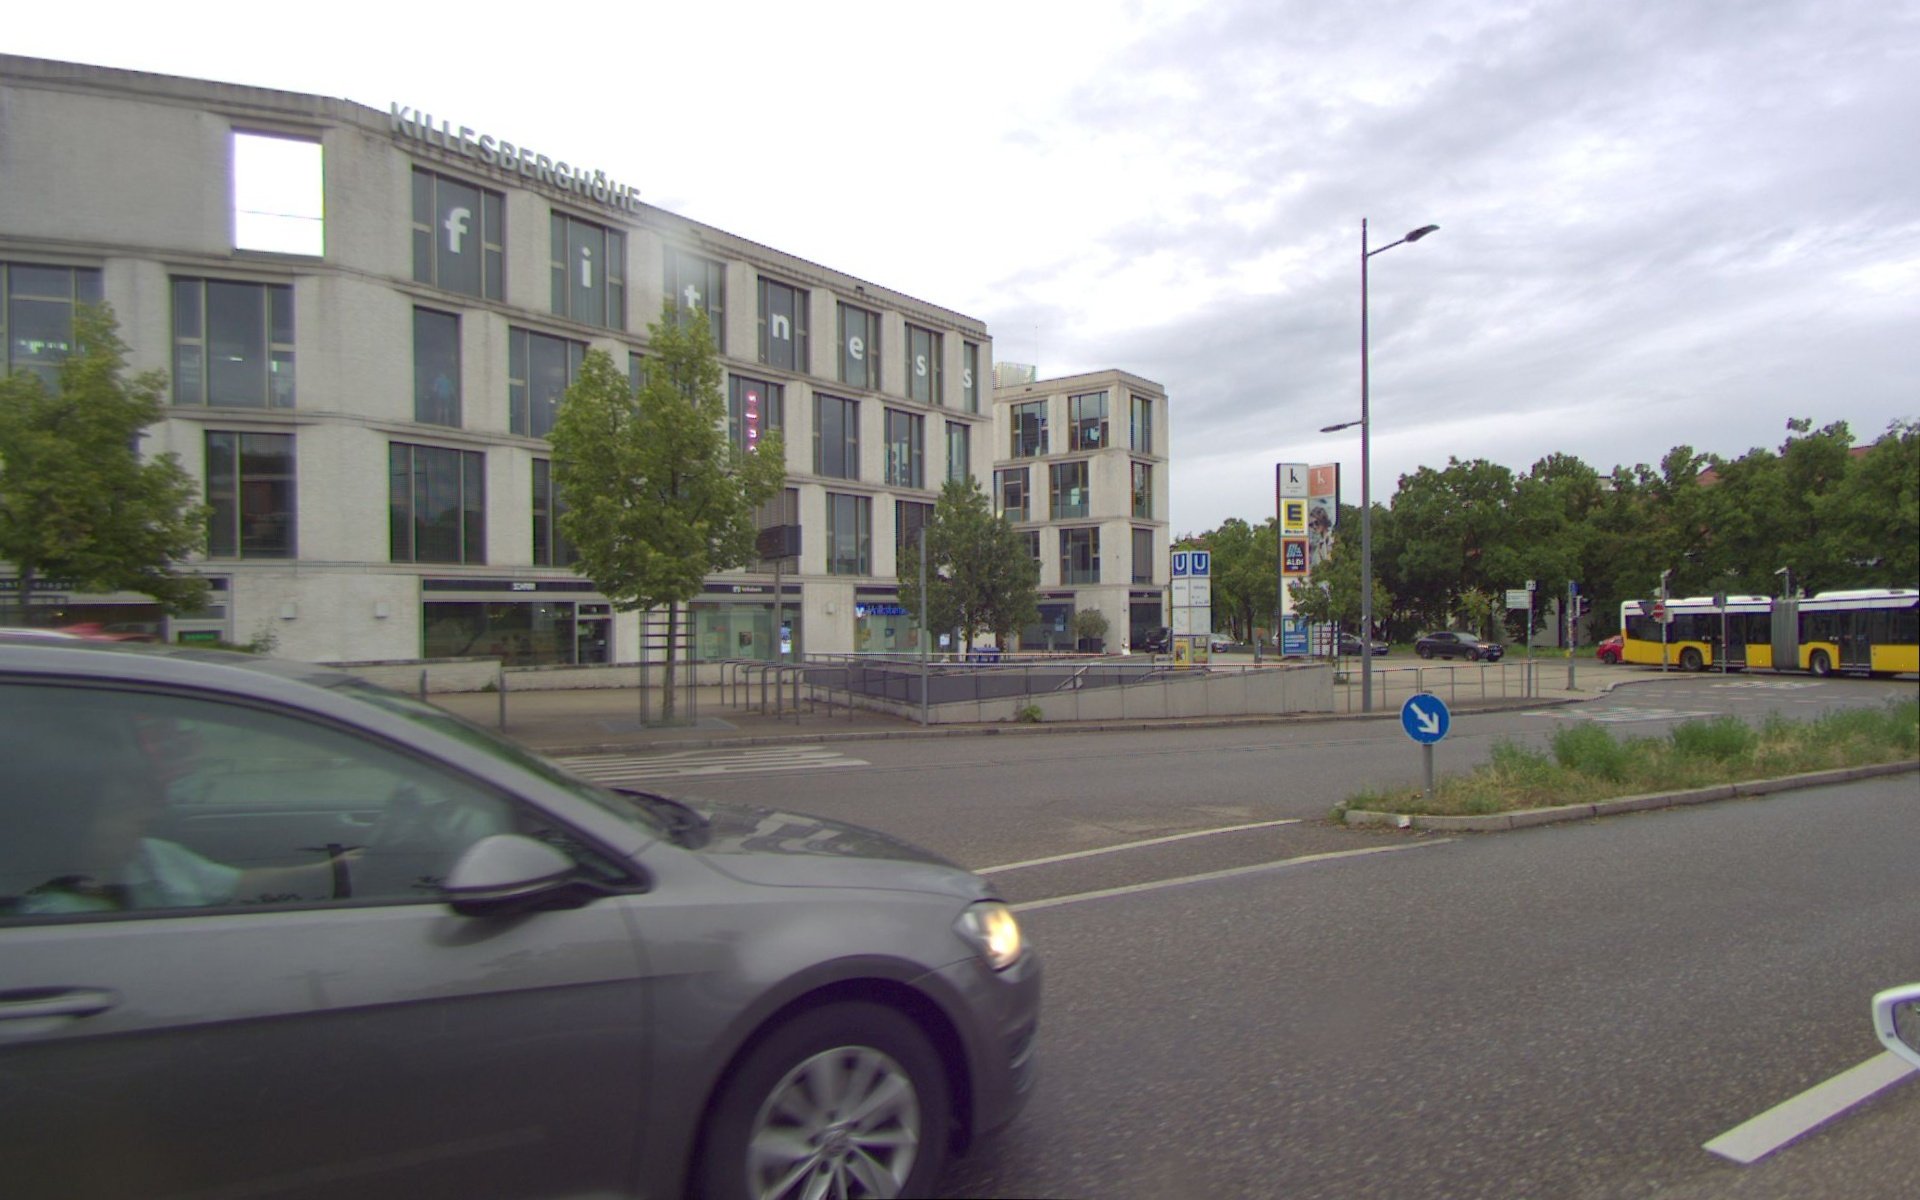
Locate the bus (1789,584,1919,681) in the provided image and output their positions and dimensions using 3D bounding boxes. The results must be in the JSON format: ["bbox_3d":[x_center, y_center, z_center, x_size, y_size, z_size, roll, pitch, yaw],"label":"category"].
[{"bbox_3d":[32.569,1.070,33.222,2.839,3.144,9.762,0,-2,4],"label":"bus"}]

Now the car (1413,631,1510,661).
[{"bbox_3d":[27.273,2.466,54.769,1.975,1.444,4.429,1,-1,-28],"label":"car"}]

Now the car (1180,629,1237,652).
[{"bbox_3d":[17.106,2.762,69.293,1.647,1.444,3.951,1,-1,-28],"label":"car"}]

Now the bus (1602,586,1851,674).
[{"bbox_3d":[32.145,1.272,42.737,2.848,3.351,8.553,1,-2,-14],"label":"bus"}]

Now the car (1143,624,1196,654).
[{"bbox_3d":[12.746,2.341,60.880,1.750,1.754,3.987,0,-2,35],"label":"car"}]

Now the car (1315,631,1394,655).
[{"bbox_3d":[25.813,2.800,65.842,1.822,1.444,4.844,1,-1,-28],"label":"car"}]

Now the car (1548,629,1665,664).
[{"bbox_3d":[32.518,2.311,50.663,1.974,1.444,4.556,3,-1,-26],"label":"car"}]

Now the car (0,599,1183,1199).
[{"bbox_3d":[-1.644,0.773,2.423,4.147,1.448,1.798,1,-3,-30],"label":"car"}]

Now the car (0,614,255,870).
[{"bbox_3d":[-7.923,0.979,6.984,4.677,1.705,1.847,1,-4,-27],"label":"car"}]
